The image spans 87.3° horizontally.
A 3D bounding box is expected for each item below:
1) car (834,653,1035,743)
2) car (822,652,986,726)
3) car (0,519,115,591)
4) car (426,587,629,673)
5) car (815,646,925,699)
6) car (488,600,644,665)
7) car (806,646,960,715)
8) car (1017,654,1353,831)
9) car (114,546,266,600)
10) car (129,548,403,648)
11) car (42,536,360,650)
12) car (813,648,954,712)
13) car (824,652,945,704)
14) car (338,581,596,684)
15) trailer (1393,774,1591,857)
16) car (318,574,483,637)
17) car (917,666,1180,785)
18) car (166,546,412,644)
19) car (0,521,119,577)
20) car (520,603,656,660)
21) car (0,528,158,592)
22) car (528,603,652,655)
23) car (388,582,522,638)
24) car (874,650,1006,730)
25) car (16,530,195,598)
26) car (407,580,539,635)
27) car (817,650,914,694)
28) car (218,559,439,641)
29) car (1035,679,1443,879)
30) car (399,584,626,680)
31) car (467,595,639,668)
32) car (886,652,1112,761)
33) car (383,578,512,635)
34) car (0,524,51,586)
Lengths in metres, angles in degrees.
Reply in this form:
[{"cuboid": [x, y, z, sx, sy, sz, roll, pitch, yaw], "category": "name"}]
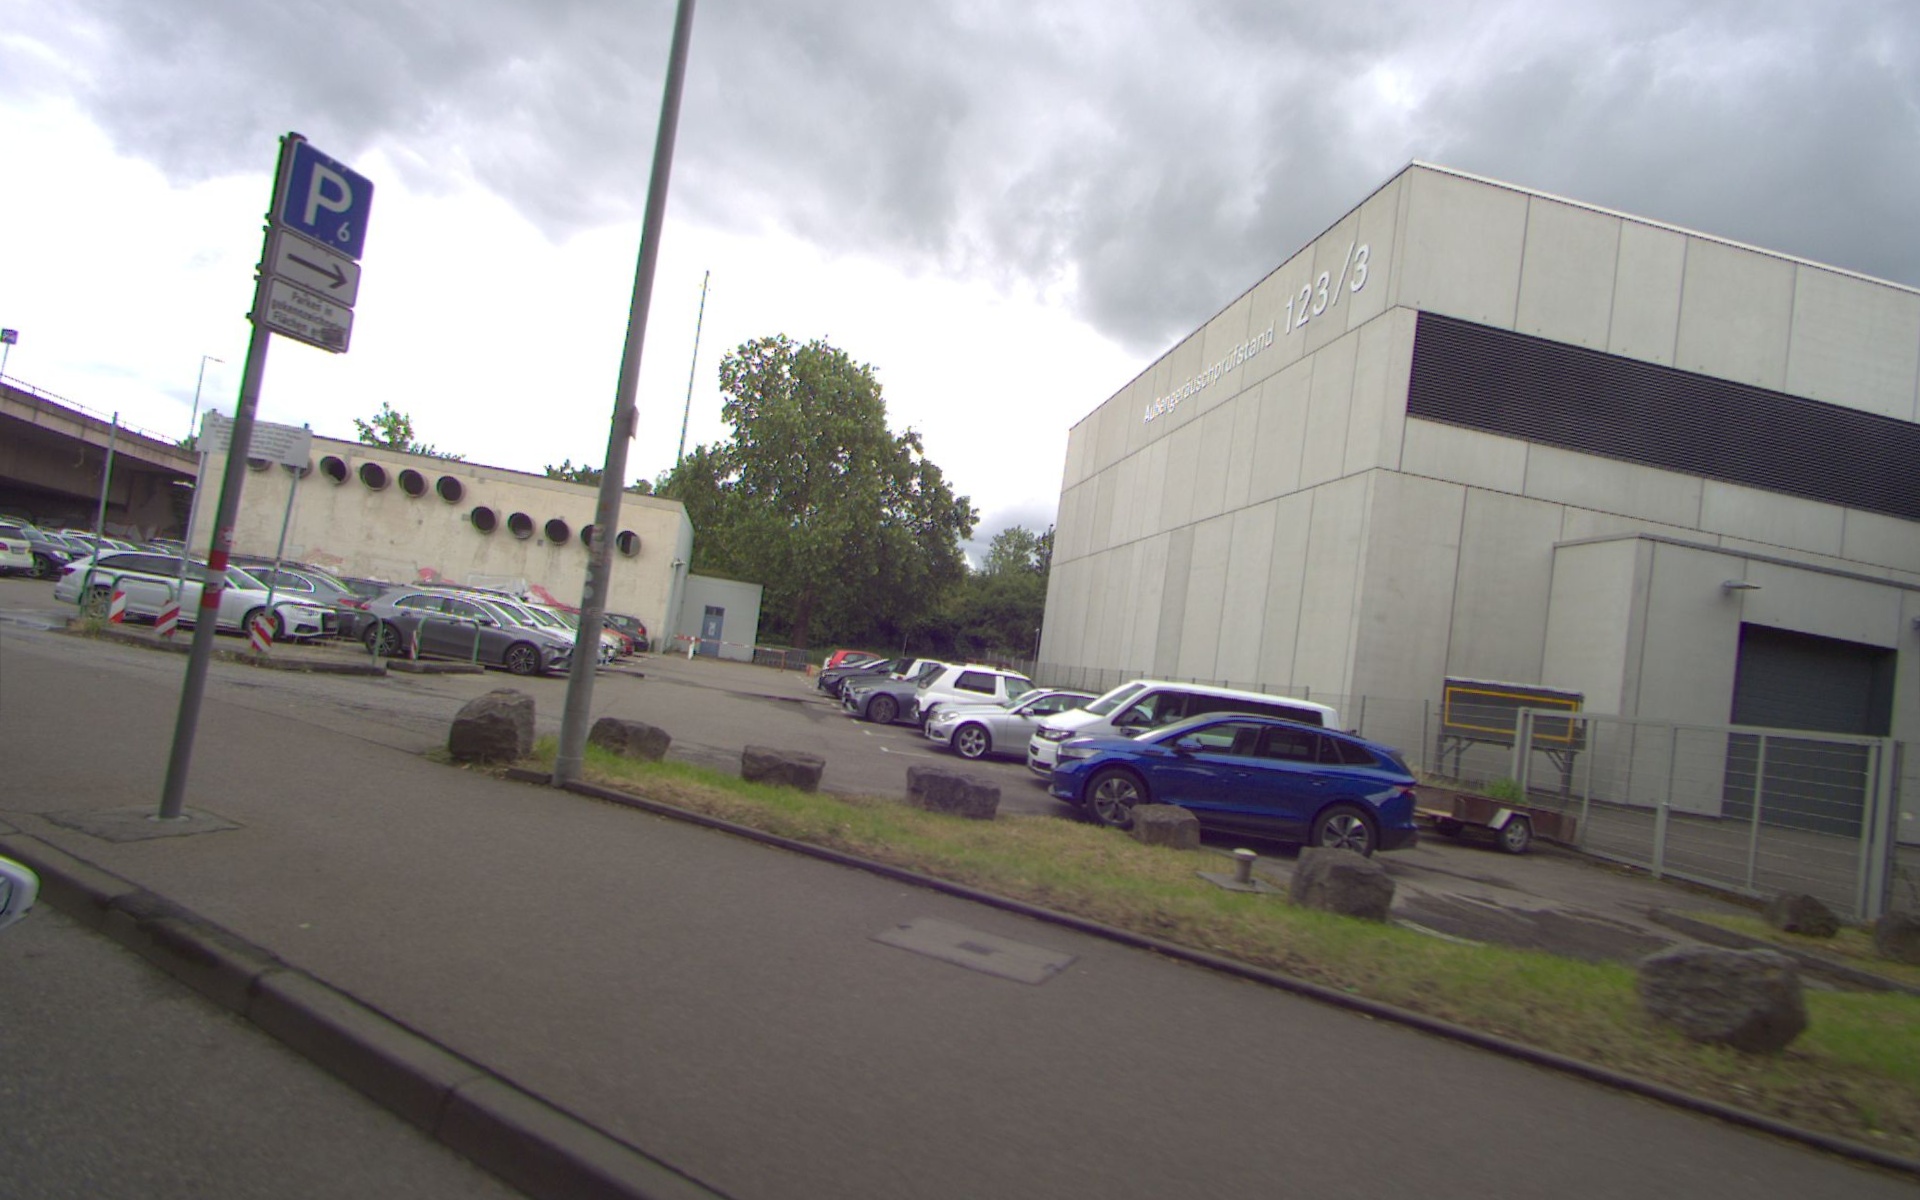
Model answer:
[{"cuboid": [-0.646, 2.225, 23.091, 4.289, 1.399, 1.774, 9, -3, -9], "category": "car"}, {"cuboid": [-1.617, 2.473, 28.266, 4.289, 1.399, 1.774, 9, -3, -9], "category": "car"}, {"cuboid": [-28.183, -1.495, 29.785, 4.363, 1.709, 1.754, 9, -3, -13], "category": "car"}, {"cuboid": [-11.231, 0.808, 26.420, 4.427, 1.529, 1.838, 9, -3, -10], "category": "car"}, {"cuboid": [-3.568, 2.851, 39.756, 4.004, 1.476, 1.494, 9, -3, -15], "category": "car"}, {"cuboid": [-12.923, 1.096, 33.272, 4.369, 1.440, 1.838, 9, -3, -10], "category": "car"}, {"cuboid": [-2.377, 2.450, 30.759, 4.295, 1.473, 1.771, 9, -3, -15], "category": "car"}, {"cuboid": [3.393, 2.160, 15.762, 4.597, 1.978, 1.895, 8, -2, -4], "category": "car"}, {"cuboid": [-29.709, -1.014, 38.959, 4.194, 1.319, 1.707, 9, -3, -13], "category": "car"}, {"cuboid": [-15.573, 0.010, 22.859, 4.613, 1.491, 1.856, 9, -3, -12], "category": "car"}, {"cuboid": [-15.041, -0.074, 20.215, 4.610, 1.491, 1.857, 9, -3, -10], "category": "car"}, {"cuboid": [-2.561, 2.643, 33.479, 4.295, 1.473, 1.771, 9, -3, -15], "category": "car"}, {"cuboid": [-2.817, 2.900, 37.412, 4.135, 1.313, 1.693, 9, -3, -15], "category": "car"}, {"cuboid": [-10.185, 0.708, 21.144, 4.369, 1.440, 1.838, 9, -3, -10], "category": "car"}, {"cuboid": [8.800, 3.558, 16.713, 2.520, 0.909, 1.481, 8, -3, -14], "category": "trailer"}, {"cuboid": [-18.744, 0.212, 33.900, 4.366, 1.407, 1.783, 9, -3, -12], "category": "car"}, {"cuboid": [1.578, 2.298, 18.758, 4.477, 1.472, 1.775, 9, -3, -7], "category": "car"}, {"cuboid": [-16.489, -0.061, 24.977, 4.547, 1.645, 1.856, 9, -3, -12], "category": "car"}, {"cuboid": [-36.767, -2.091, 40.303, 4.126, 1.610, 1.836, 9, -3, -13], "category": "car"}, {"cuboid": [-13.921, 1.193, 37.900, 4.369, 1.440, 1.838, 9, -3, -10], "category": "car"}, {"cuboid": [-28.545, -1.296, 31.998, 4.337, 1.378, 1.629, 9, -3, -13], "category": "car"}, {"cuboid": [-15.175, 1.209, 41.510, 4.369, 1.440, 1.838, 9, -3, -10], "category": "car"}, {"cuboid": [-18.359, 0.383, 36.757, 3.913, 1.407, 1.767, 9, -3, -12], "category": "car"}, {"cuboid": [-0.559, 2.298, 25.949, 3.046, 1.561, 1.622, 9, -2, -9], "category": "car"}, {"cuboid": [-29.036, -1.186, 34.320, 4.194, 1.525, 1.707, 9, -3, -13], "category": "car"}, {"cuboid": [-19.971, 0.337, 41.455, 4.418, 1.549, 1.767, 9, -3, -12], "category": "car"}, {"cuboid": [-4.220, 3.183, 44.782, 3.986, 1.352, 1.494, 9, -3, -15], "category": "car"}, {"cuboid": [-16.937, 0.044, 27.230, 4.547, 1.459, 1.856, 9, -3, -12], "category": "car"}, {"cuboid": [3.372, 2.179, 12.881, 4.596, 1.652, 1.778, 8, -2, 6], "category": "car"}, {"cuboid": [-10.453, 0.785, 23.830, 4.427, 1.529, 1.838, 9, -3, -10], "category": "car"}, {"cuboid": [-12.334, 0.979, 30.779, 4.427, 1.529, 1.838, 9, -3, -10], "category": "car"}, {"cuboid": [0.770, 2.212, 21.119, 4.290, 1.605, 1.774, 9, -2, -11], "category": "car"}, {"cuboid": [-19.698, 0.276, 38.836, 3.913, 1.549, 1.767, 9, -3, -12], "category": "car"}, {"cuboid": [-27.812, -1.524, 27.396, 4.023, 1.573, 1.754, 9, -3, -13], "category": "car"}]
